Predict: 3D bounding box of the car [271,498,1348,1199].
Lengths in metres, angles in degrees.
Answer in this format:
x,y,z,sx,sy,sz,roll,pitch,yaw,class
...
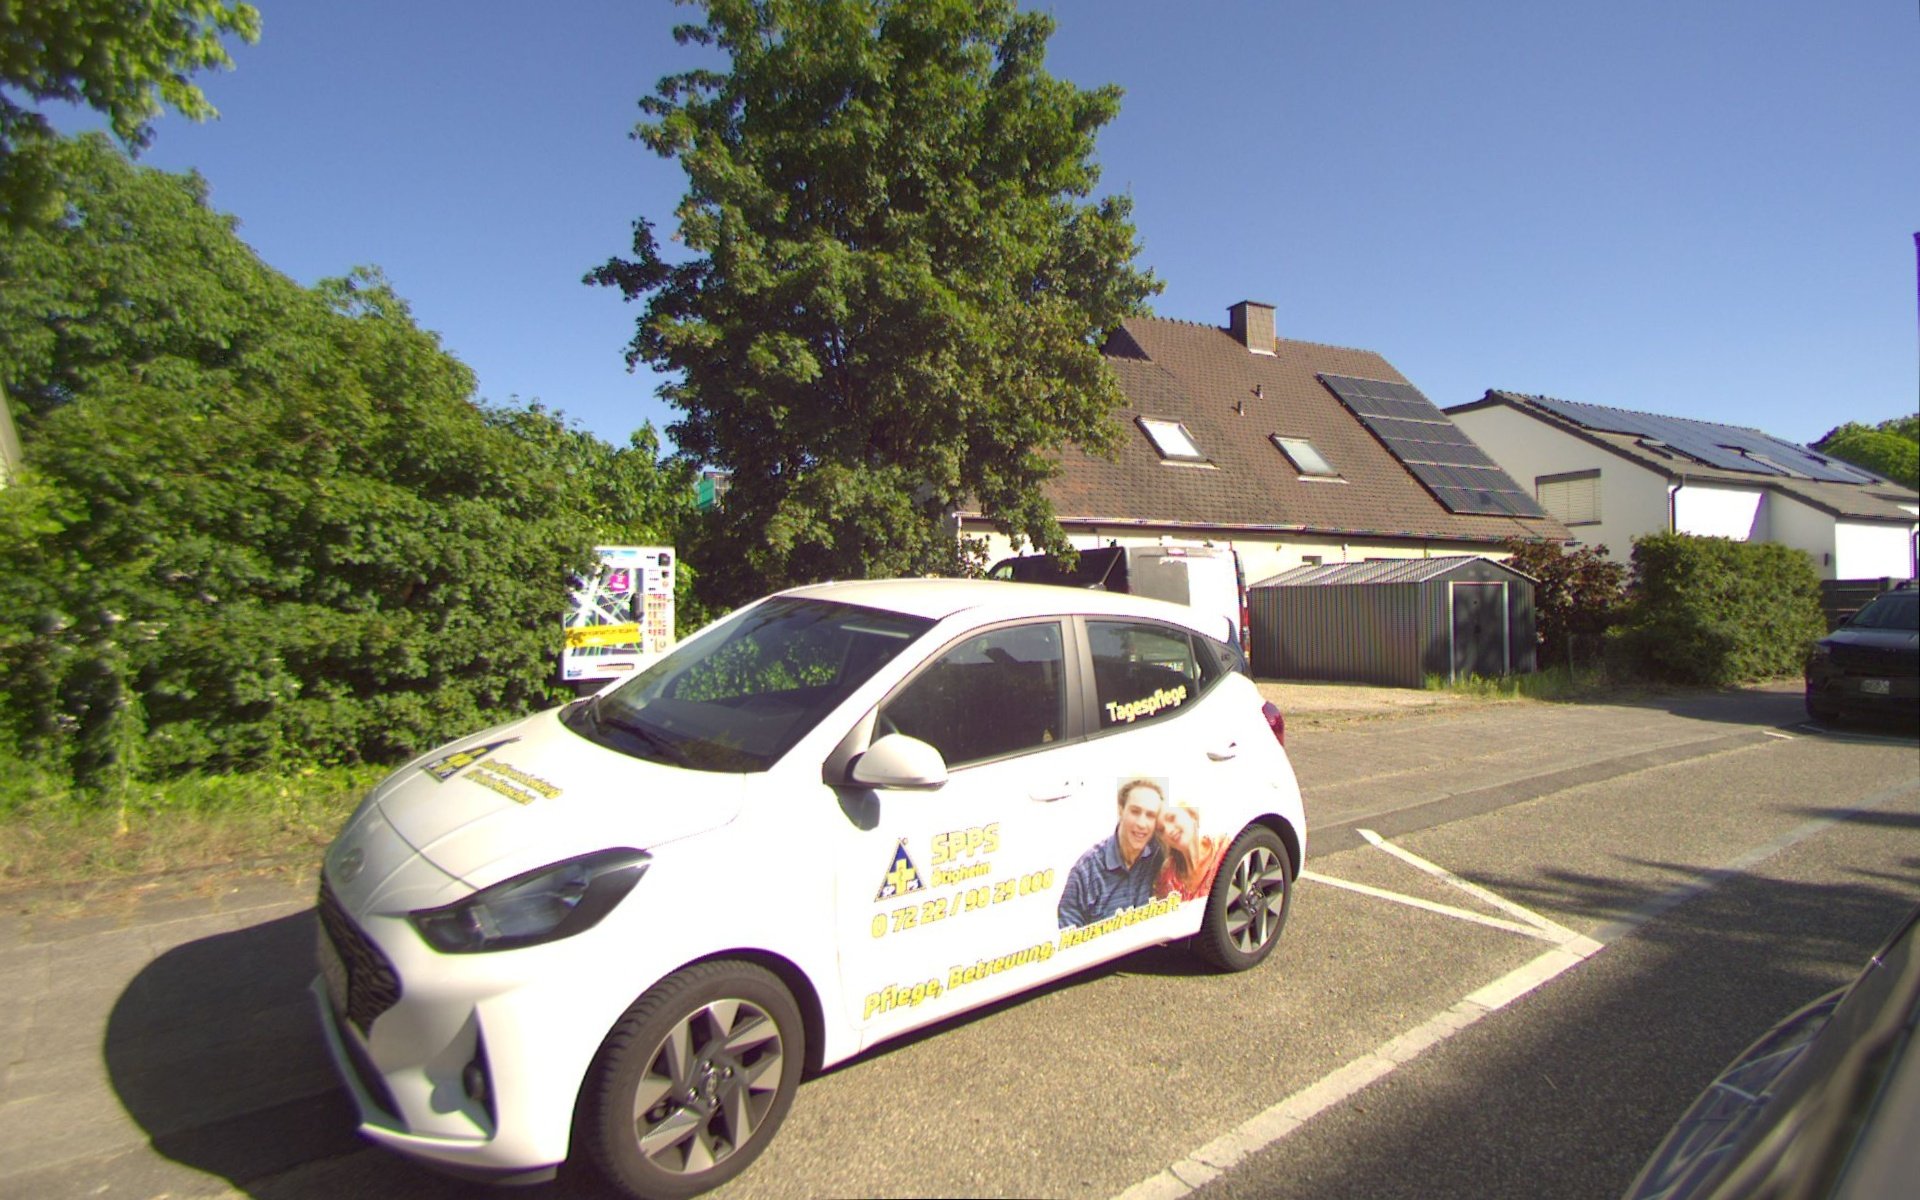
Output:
x,y,z,sx,sy,sz,roll,pitch,yaw,class
-0.273,0.580,3.770,3.638,1.593,1.636,1,1,-40,car

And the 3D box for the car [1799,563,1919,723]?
x,y,z,sx,sy,sz,roll,pitch,yaw,class
12.033,0.491,12.249,3.630,1.759,1.780,1,1,-32,car

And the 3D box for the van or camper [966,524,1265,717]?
x,y,z,sx,sy,sz,roll,pitch,yaw,class
1.774,0.230,12.863,1.910,2.039,3.859,0,-1,-26,van or camper
